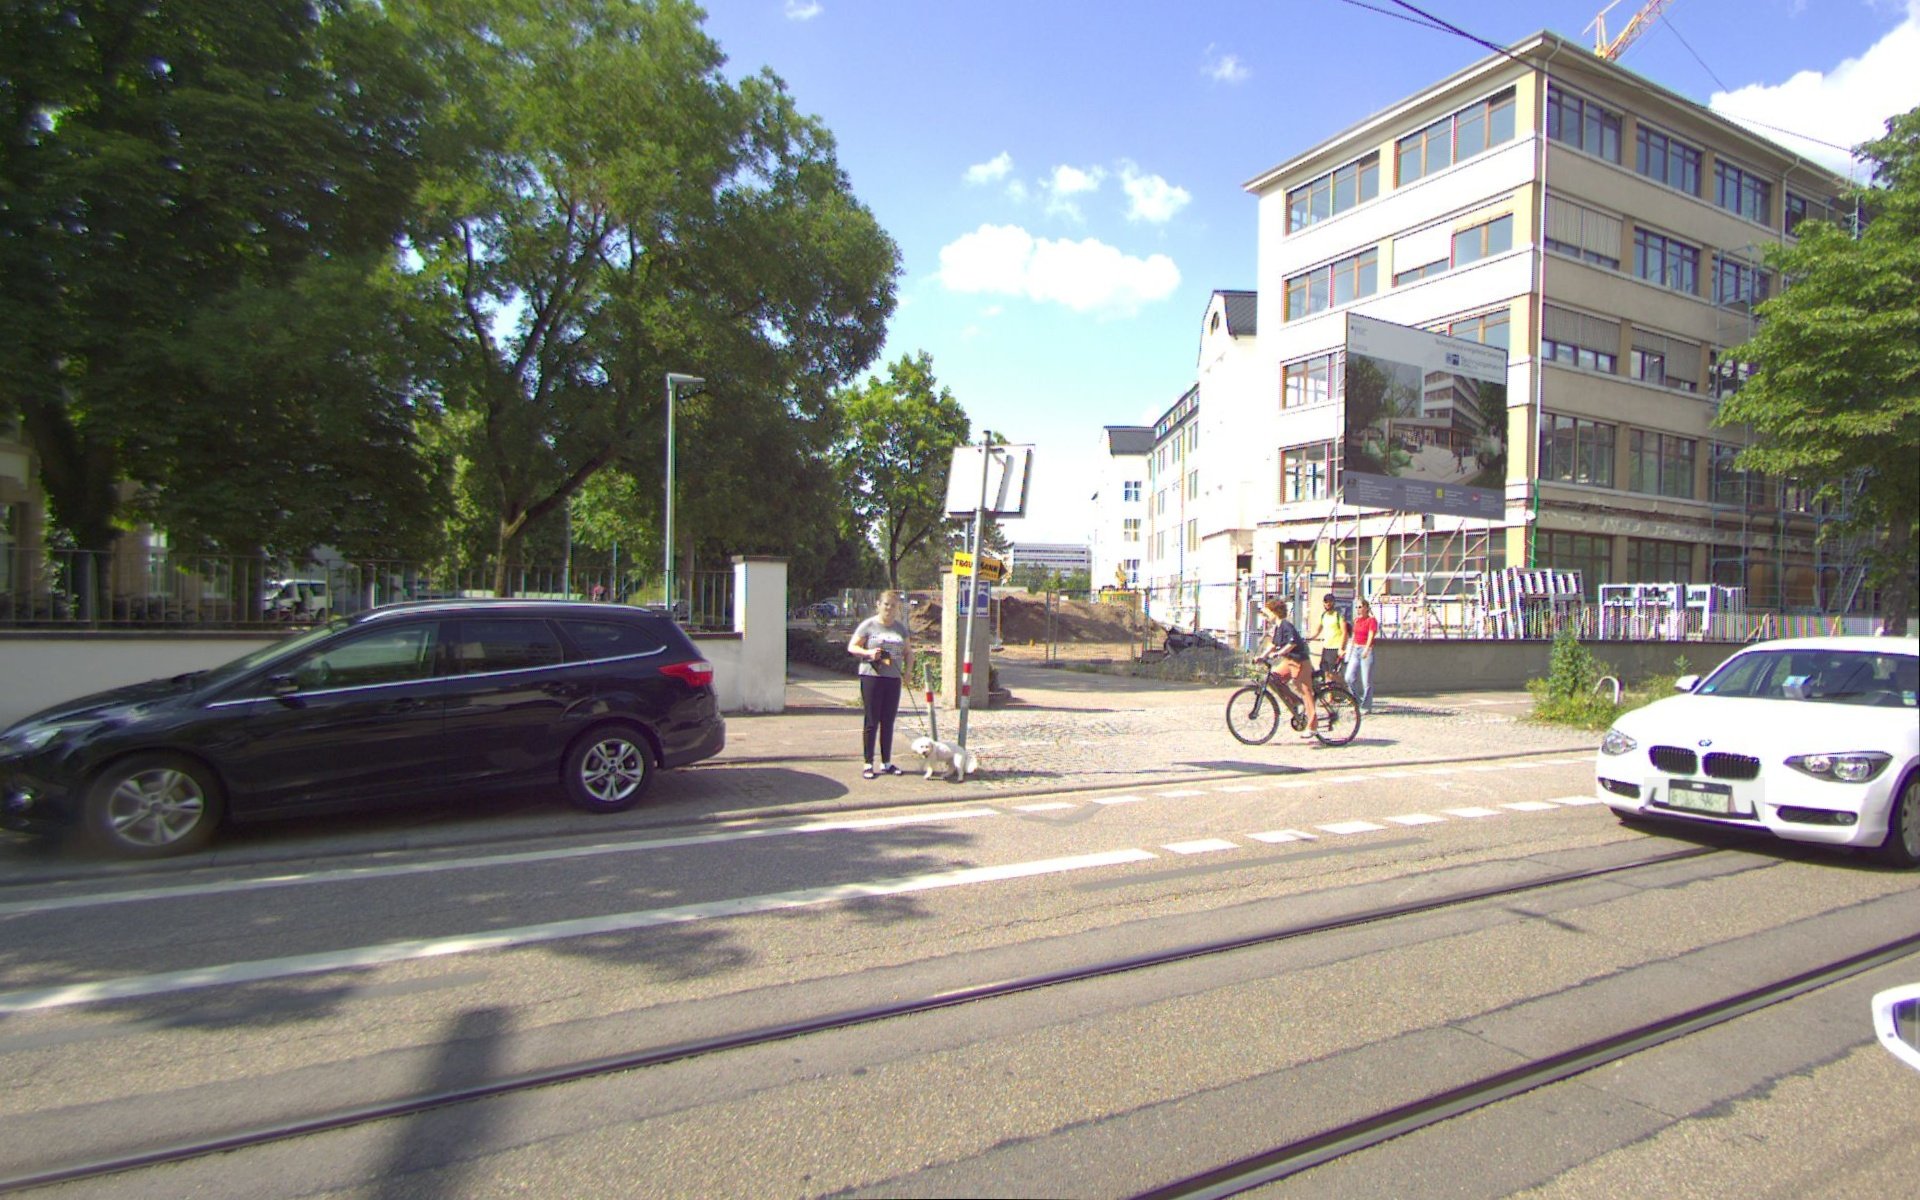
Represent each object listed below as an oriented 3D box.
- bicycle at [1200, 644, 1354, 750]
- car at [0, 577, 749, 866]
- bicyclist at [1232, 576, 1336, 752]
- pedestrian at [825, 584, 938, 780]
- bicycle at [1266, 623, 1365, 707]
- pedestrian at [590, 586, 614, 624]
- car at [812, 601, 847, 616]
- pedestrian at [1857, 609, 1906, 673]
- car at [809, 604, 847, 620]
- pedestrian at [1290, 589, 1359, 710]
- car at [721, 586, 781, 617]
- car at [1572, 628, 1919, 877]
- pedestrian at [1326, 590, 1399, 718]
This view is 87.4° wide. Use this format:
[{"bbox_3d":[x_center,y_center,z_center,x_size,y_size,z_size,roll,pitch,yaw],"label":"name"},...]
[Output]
[{"bbox_3d":[3.909,1.152,12.335,1.921,1.181,0.640,1,2,-30],"label":"bicycle"},{"bbox_3d":[-4.006,0.697,7.209,4.541,1.536,1.739,2,1,-32],"label":"car"},{"bbox_3d":[3.937,0.756,12.245,0.824,2.040,0.872,1,-1,-30],"label":"bicyclist"},{"bbox_3d":[-0.700,0.702,9.044,0.714,1.659,0.691,2,1,28],"label":"pedestrian"},{"bbox_3d":[5.788,1.043,16.337,1.716,1.303,0.444,1,0,-27],"label":"bicycle"},{"bbox_3d":[-15.608,0.228,43.762,0.751,1.642,0.594,1,0,10],"label":"pedestrian"},{"bbox_3d":[-14.268,0.936,109.805,3.593,1.509,1.786,1,0,1],"label":"car"},{"bbox_3d":[24.531,1.075,26.742,0.587,1.642,0.761,1,1,-28],"label":"pedestrian"},{"bbox_3d":[-13.448,1.190,102.410,3.595,1.509,1.785,1,0,-2],"label":"car"},{"bbox_3d":[5.768,0.757,15.893,0.655,1.818,0.703,-1,4,-34],"label":"pedestrian"},{"bbox_3d":[-14.631,0.119,70.469,3.925,2.040,1.998,1,0,-6],"label":"car"},{"bbox_3d":[6.620,0.954,7.525,4.176,1.424,1.679,2,-2,-30],"label":"car"},{"bbox_3d":[6.123,0.796,15.291,0.655,1.857,0.703,-1,4,-34],"label":"pedestrian"}]
